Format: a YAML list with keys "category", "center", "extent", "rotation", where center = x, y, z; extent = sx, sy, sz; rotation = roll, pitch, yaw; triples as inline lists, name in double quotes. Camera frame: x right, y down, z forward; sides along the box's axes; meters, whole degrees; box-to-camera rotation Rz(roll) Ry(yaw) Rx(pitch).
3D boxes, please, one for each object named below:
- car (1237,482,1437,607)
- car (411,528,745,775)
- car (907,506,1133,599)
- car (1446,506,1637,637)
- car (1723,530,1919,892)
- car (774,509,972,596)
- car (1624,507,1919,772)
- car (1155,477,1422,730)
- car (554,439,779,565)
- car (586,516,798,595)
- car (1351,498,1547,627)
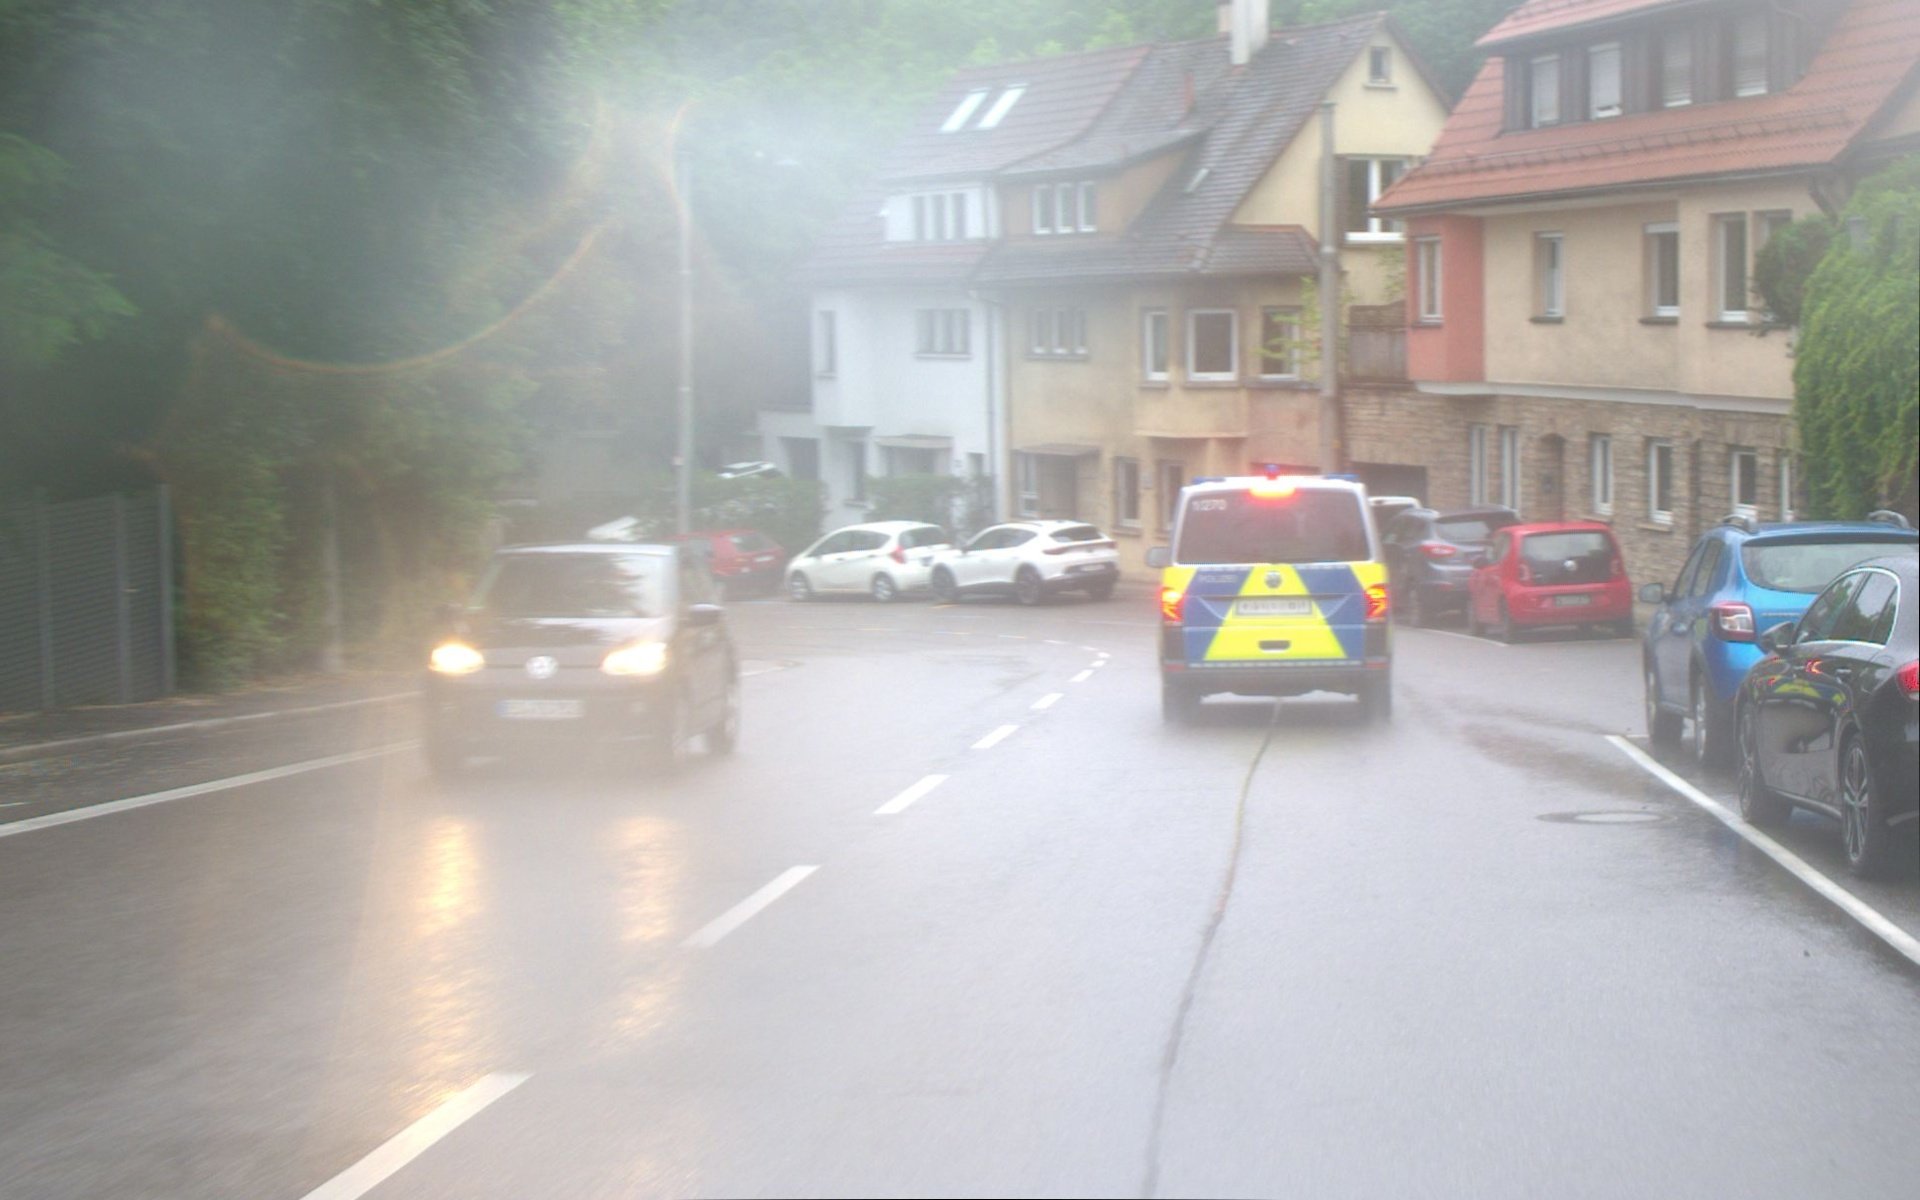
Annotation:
- category: "car"
  center: [5.942, -0.922, 54.635]
  extent: [1.705, 1.784, 4.328]
  rotation: [-5, 3, -13]
- category: "car"
  center: [-2.434, 0.272, 22.707]
  extent: [1.649, 1.415, 3.803]
  rotation: [2, 2, 2]
- category: "car"
  center: [1.081, -0.871, 64.168]
  extent: [1.914, 1.533, 4.414]
  rotation: [-6, 3, -34]
- category: "car"
  center: [7.455, -0.396, 44.364]
  extent: [1.615, 1.430, 3.582]
  rotation: [-4, 3, -2]
- category: "car"
  center: [4.727, 0.419, 16.401]
  extent: [1.689, 1.450, 4.253]
  rotation: [-1, 2, 7]
- category: "car"
  center: [-1.744, -0.930, 67.901]
  extent: [1.766, 1.509, 3.821]
  rotation: [-7, 4, -41]
- category: "car"
  center: [5.581, 0.188, 23.186]
  extent: [1.734, 1.588, 4.253]
  rotation: [-1, 2, 5]
- category: "car"
  center: [2.777, 0.012, 28.834]
  extent: [1.994, 1.887, 4.569]
  rotation: [-2, 0, 6]
- category: "car"
  center: [-6.652, -2.254, 77.882]
  extent: [4.397, 1.835, 2.001]
  rotation: [-15, 9, -23]
- category: "car"
  center: [-5.587, -0.918, 71.494]
  extent: [4.191, 1.362, 1.782]
  rotation: [-2, 4, 37]
- category: "car"
  center: [6.982, -0.586, 49.461]
  extent: [1.615, 1.599, 4.413]
  rotation: [-5, 3, -6]
